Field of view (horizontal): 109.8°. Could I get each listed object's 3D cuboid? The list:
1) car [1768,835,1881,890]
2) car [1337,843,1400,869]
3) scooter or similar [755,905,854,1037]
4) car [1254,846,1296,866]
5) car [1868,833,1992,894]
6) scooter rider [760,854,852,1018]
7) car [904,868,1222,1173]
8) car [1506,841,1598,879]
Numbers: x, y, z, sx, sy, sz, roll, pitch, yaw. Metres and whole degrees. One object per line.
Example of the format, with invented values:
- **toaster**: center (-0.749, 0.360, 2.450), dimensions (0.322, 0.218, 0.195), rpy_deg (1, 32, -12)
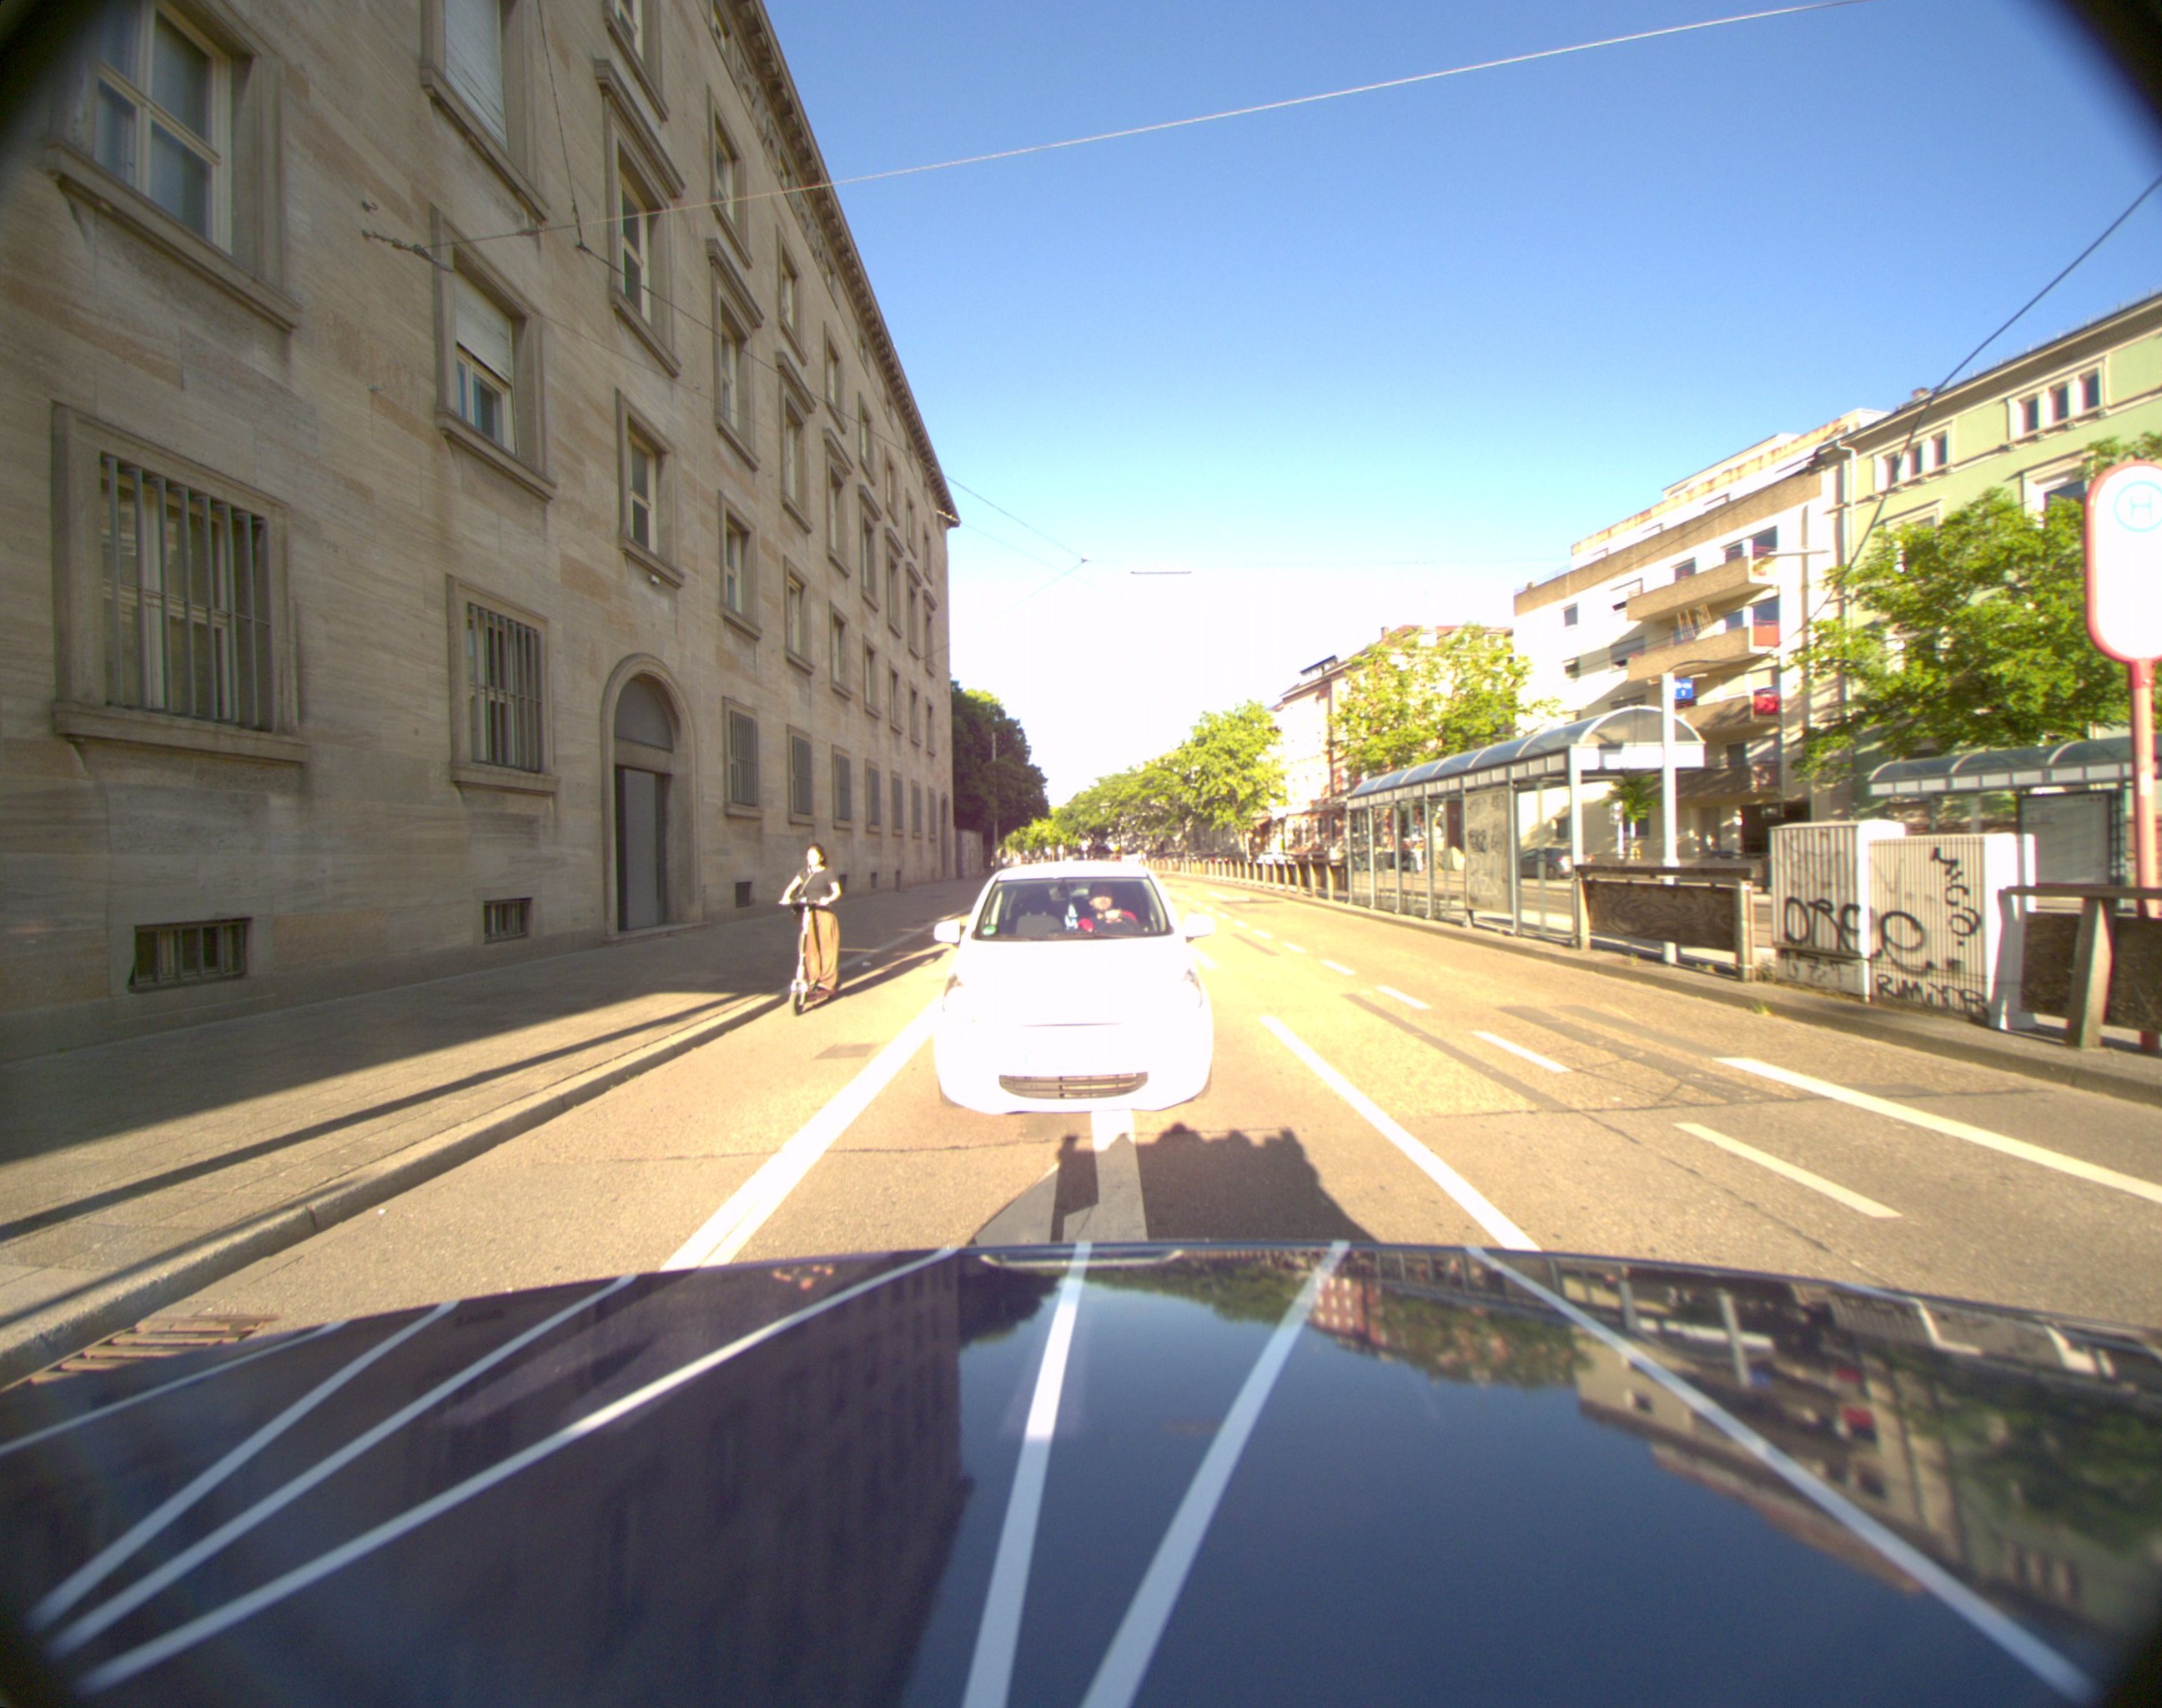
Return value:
- **car**: center (23.885, 0.229, 24.384), dimensions (3.605, 1.558, 1.627), rpy_deg (-3, 1, -29)
- **car**: center (19.542, 0.129, 51.704), dimensions (3.599, 1.558, 1.630), rpy_deg (-2, 1, -7)
- **scooter or similar**: center (-2.878, 1.180, 8.025), dimensions (0.536, 1.178, 1.328), rpy_deg (-1, 0, 0)
- **car**: center (16.255, 0.160, 63.458), dimensions (3.607, 1.558, 1.627), rpy_deg (-3, 1, -42)
- **car**: center (24.464, 0.234, 21.872), dimensions (3.605, 1.558, 1.627), rpy_deg (-3, 1, -29)
- **scooter rider**: center (-2.882, 0.837, 8.012), dimensions (0.731, 1.661, 0.556), rpy_deg (-1, 1, 0)
- **car**: center (-0.071, 0.908, 5.788), dimensions (1.612, 1.462, 3.631), rpy_deg (-2, 0, 1)
- **car**: center (20.915, 0.236, 33.914), dimensions (1.631, 1.558, 3.598), rpy_deg (-2, 1, -5)
